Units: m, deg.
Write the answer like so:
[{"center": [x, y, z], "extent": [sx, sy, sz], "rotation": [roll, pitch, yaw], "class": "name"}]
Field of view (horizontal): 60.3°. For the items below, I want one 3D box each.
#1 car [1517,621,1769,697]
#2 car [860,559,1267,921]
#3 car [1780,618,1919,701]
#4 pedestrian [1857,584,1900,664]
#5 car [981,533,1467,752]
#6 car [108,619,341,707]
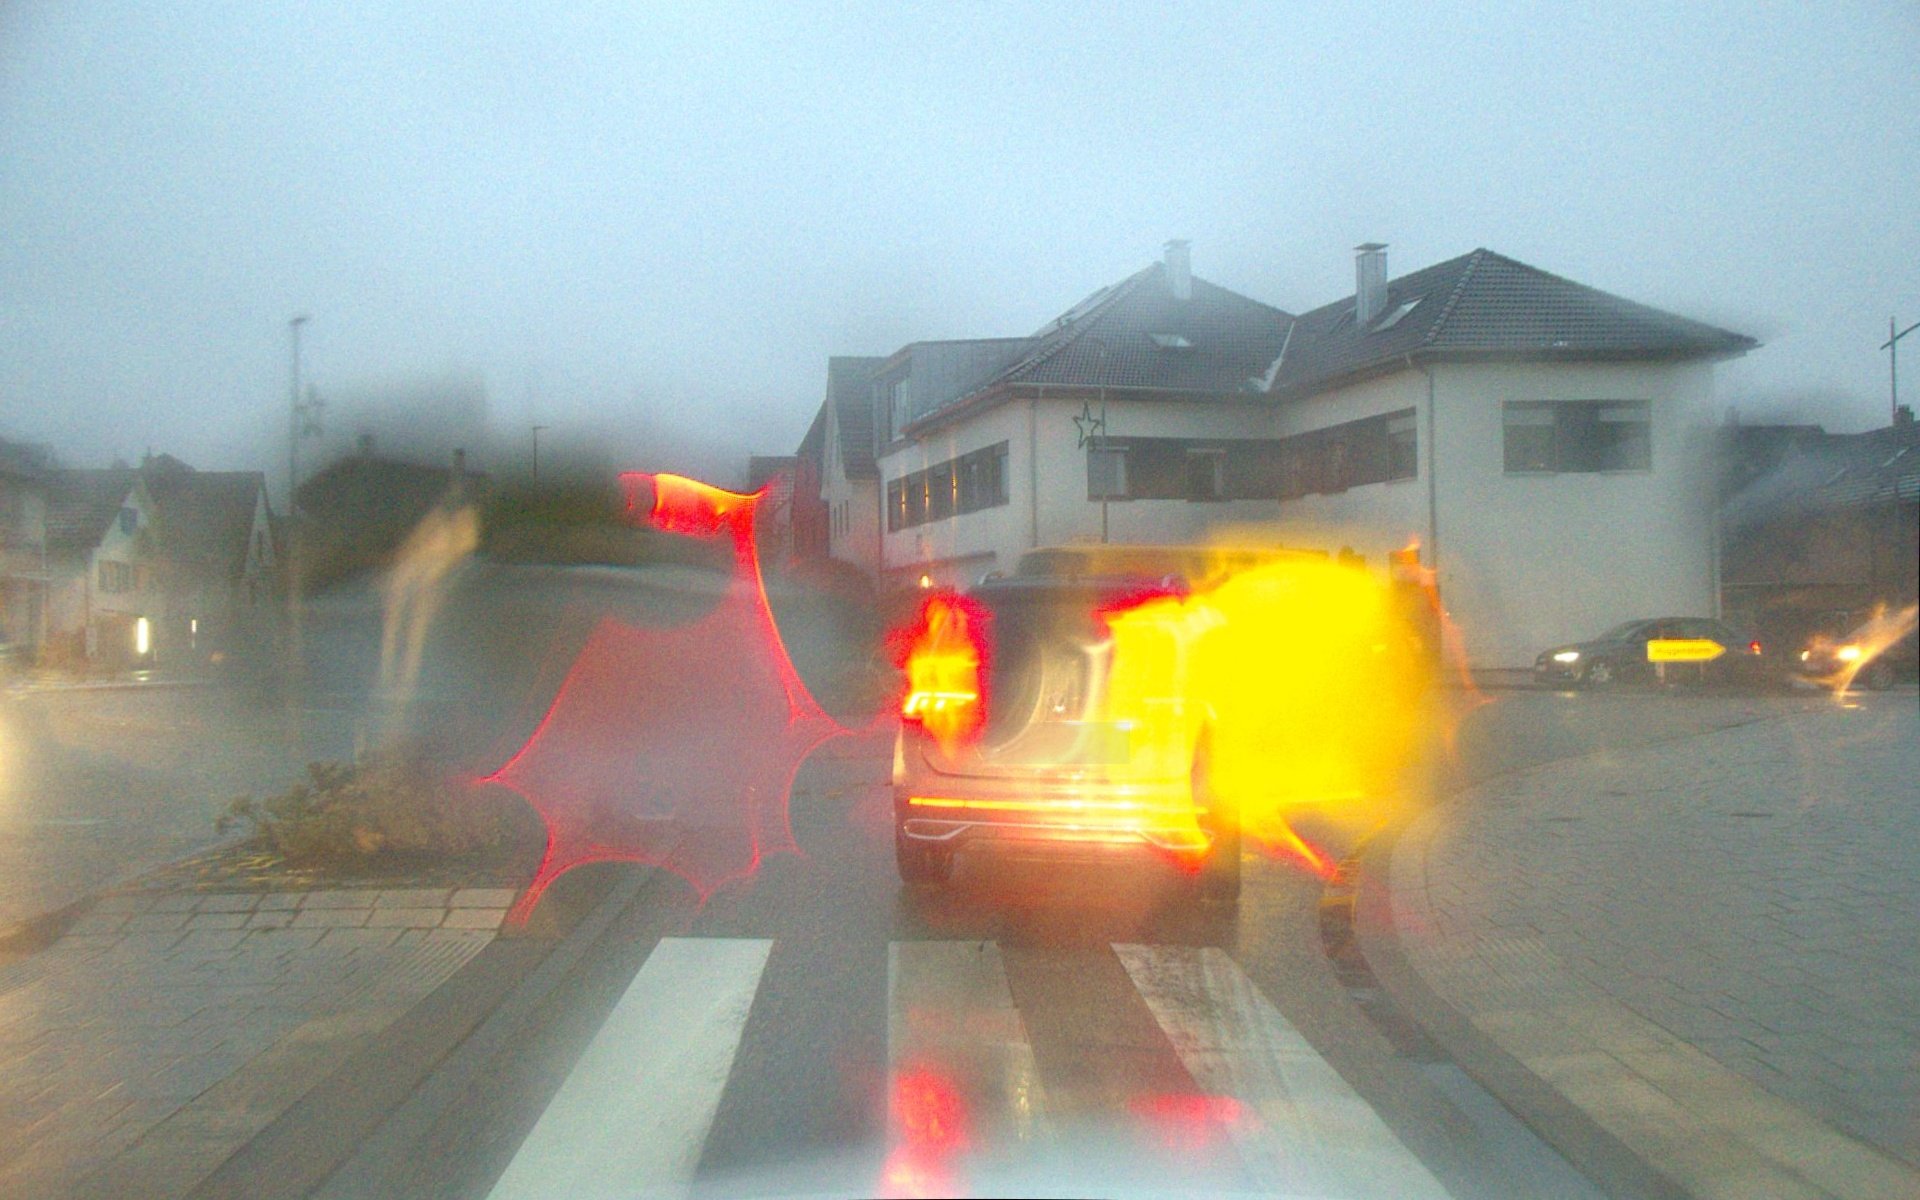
[{"center": [13.256, 1.170, 32.231], "extent": [4.138, 1.408, 1.848], "rotation": [0, -3, -5], "class": "car"}, {"center": [0.799, 0.650, 9.605], "extent": [1.875, 1.643, 3.953], "rotation": [-1, 0, 10], "class": "car"}, {"center": [18.457, 1.170, 32.431], "extent": [3.907, 1.579, 1.696], "rotation": [0, -2, -3], "class": "car"}, {"center": [21.811, 0.557, 39.290], "extent": [0.700, 1.864, 0.638], "rotation": [-1, 1, 7], "class": "pedestrian"}, {"center": [2.809, 0.395, 17.472], "extent": [4.822, 2.049, 1.984], "rotation": [0, -1, -25], "class": "car"}, {"center": [-14.883, 1.255, 33.632], "extent": [3.979, 1.691, 1.701], "rotation": [0, -1, -8], "class": "car"}]
